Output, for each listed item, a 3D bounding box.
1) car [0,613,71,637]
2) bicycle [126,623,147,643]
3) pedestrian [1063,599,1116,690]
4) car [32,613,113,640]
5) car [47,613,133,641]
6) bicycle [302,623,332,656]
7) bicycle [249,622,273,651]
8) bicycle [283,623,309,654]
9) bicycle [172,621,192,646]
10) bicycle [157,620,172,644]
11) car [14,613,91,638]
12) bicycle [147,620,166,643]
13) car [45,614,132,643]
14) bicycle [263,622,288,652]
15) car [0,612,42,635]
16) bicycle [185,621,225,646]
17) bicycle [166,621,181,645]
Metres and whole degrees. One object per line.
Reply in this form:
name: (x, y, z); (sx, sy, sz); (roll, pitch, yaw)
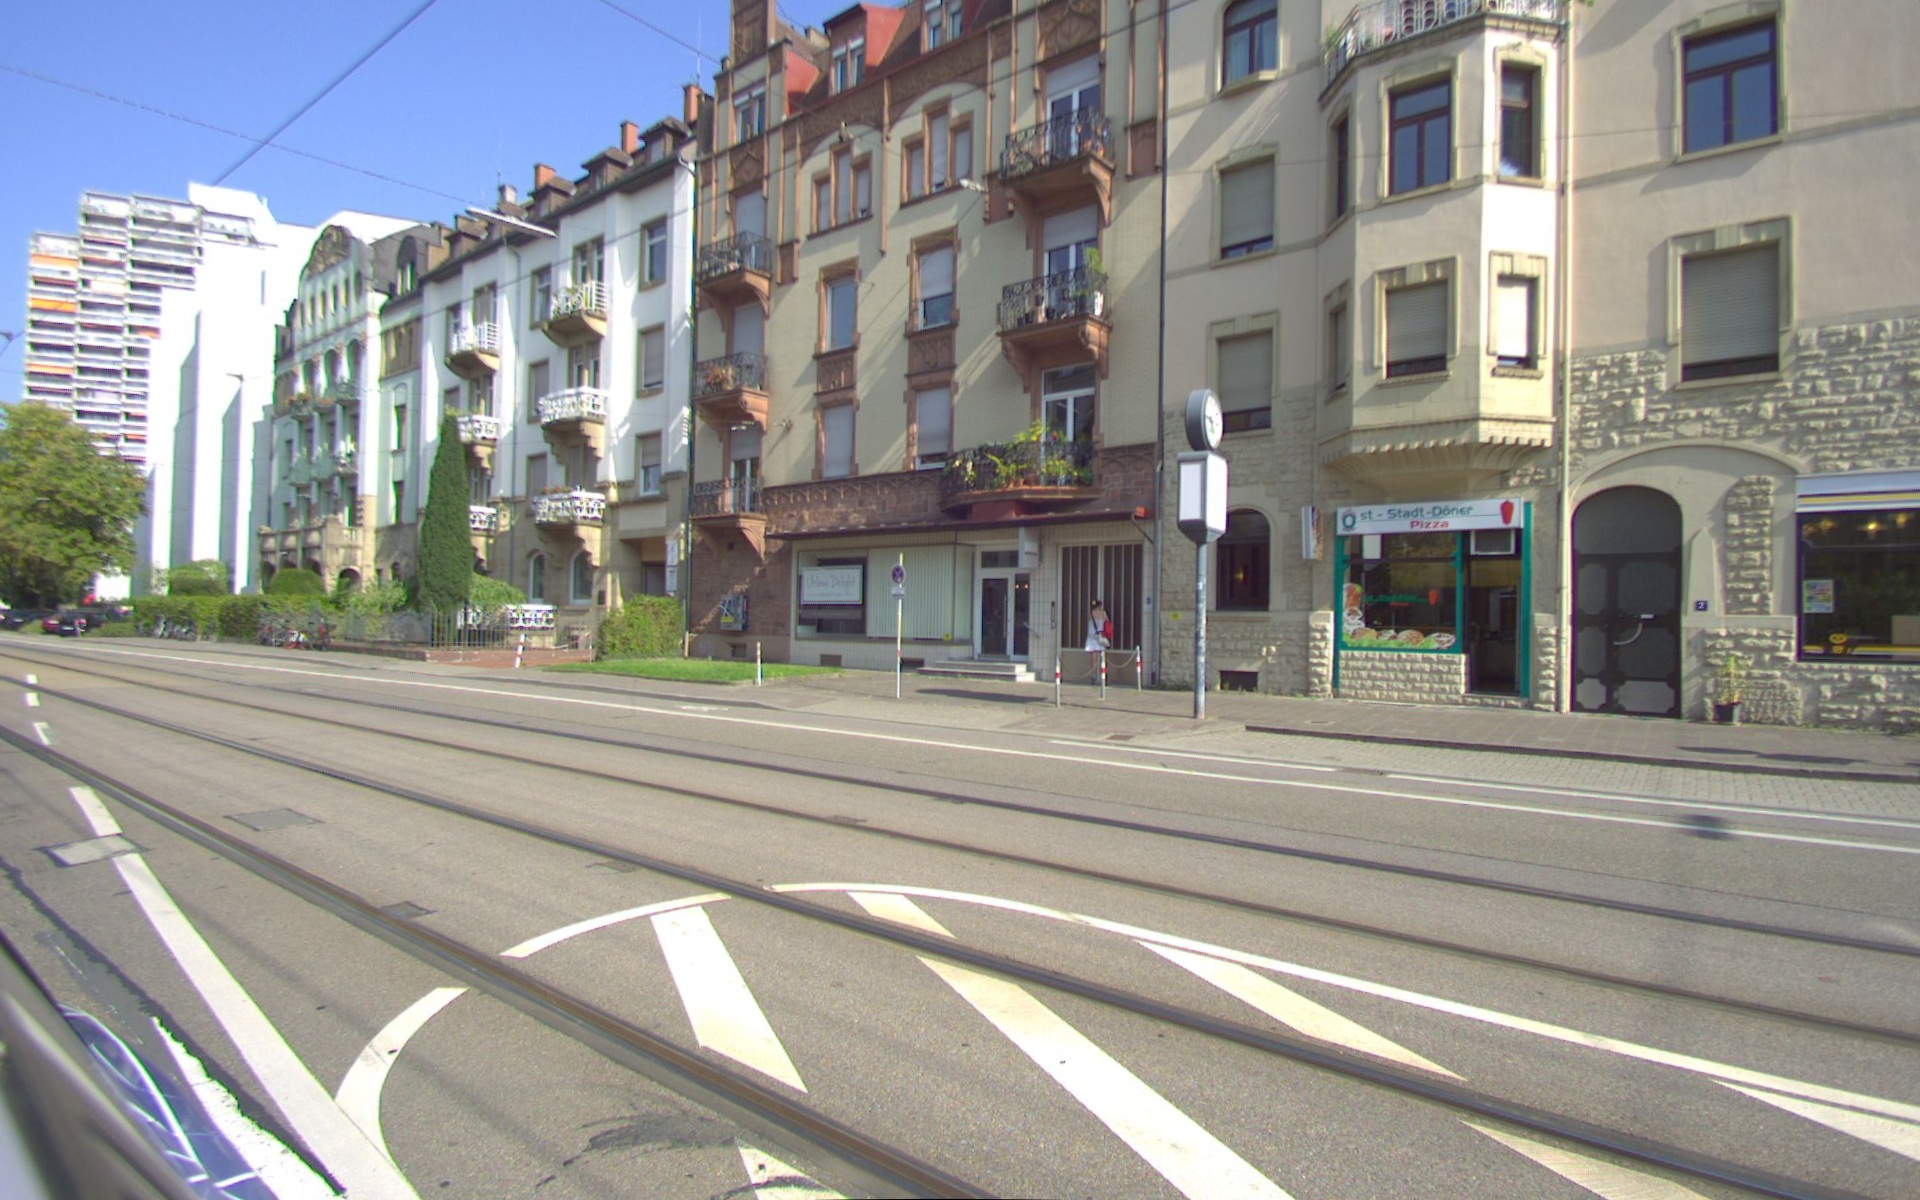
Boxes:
car: (-60.850, 1.642, 66.490); (1.744, 1.539, 4.008); (1, -2, -9)
bicycle: (-40.917, 1.620, 50.261); (1.768, 0.985, 0.420); (-1, -2, 39)
pedestrian: (2.754, 0.928, 21.438); (0.829, 1.874, 0.766); (0, -2, 38)
car: (-52.699, 1.601, 60.173); (1.744, 1.539, 4.008); (1, -2, -9)
car: (-50.301, 1.589, 58.619); (1.745, 1.539, 4.004); (1, -2, -5)
bicycle: (-22.003, 1.351, 34.617); (1.486, 1.096, 0.366); (-1, -2, 39)
bicycle: (-26.757, 1.397, 38.753); (1.353, 1.096, 0.366); (-1, -2, 39)
bicycle: (-23.420, 1.353, 35.686); (1.353, 1.096, 0.366); (-1, -2, 39)
bicycle: (-34.588, 1.496, 44.981); (1.677, 1.096, 0.420); (-1, -3, 44)
bicycle: (-36.819, 1.490, 46.842); (0.419, 1.096, 1.679); (3, -3, -41)
car: (-58.306, 1.667, 65.098); (1.744, 1.539, 4.008); (1, -2, -9)
bicycle: (-38.285, 1.505, 48.222); (1.676, 1.096, 0.420); (-1, -3, 42)
car: (-47.829, 1.578, 55.661); (1.744, 1.539, 4.008); (1, -2, -9)
bicycle: (-25.430, 1.373, 37.581); (1.353, 1.096, 0.366); (-1, -2, 39)
car: (-67.791, 1.663, 71.972); (1.744, 1.539, 4.008); (1, -2, -9)
bicycle: (-33.430, 1.477, 44.813); (0.423, 1.096, 1.386); (0, -2, 22)
bicycle: (-36.103, 1.501, 46.438); (0.419, 1.096, 1.679); (3, -3, -41)
